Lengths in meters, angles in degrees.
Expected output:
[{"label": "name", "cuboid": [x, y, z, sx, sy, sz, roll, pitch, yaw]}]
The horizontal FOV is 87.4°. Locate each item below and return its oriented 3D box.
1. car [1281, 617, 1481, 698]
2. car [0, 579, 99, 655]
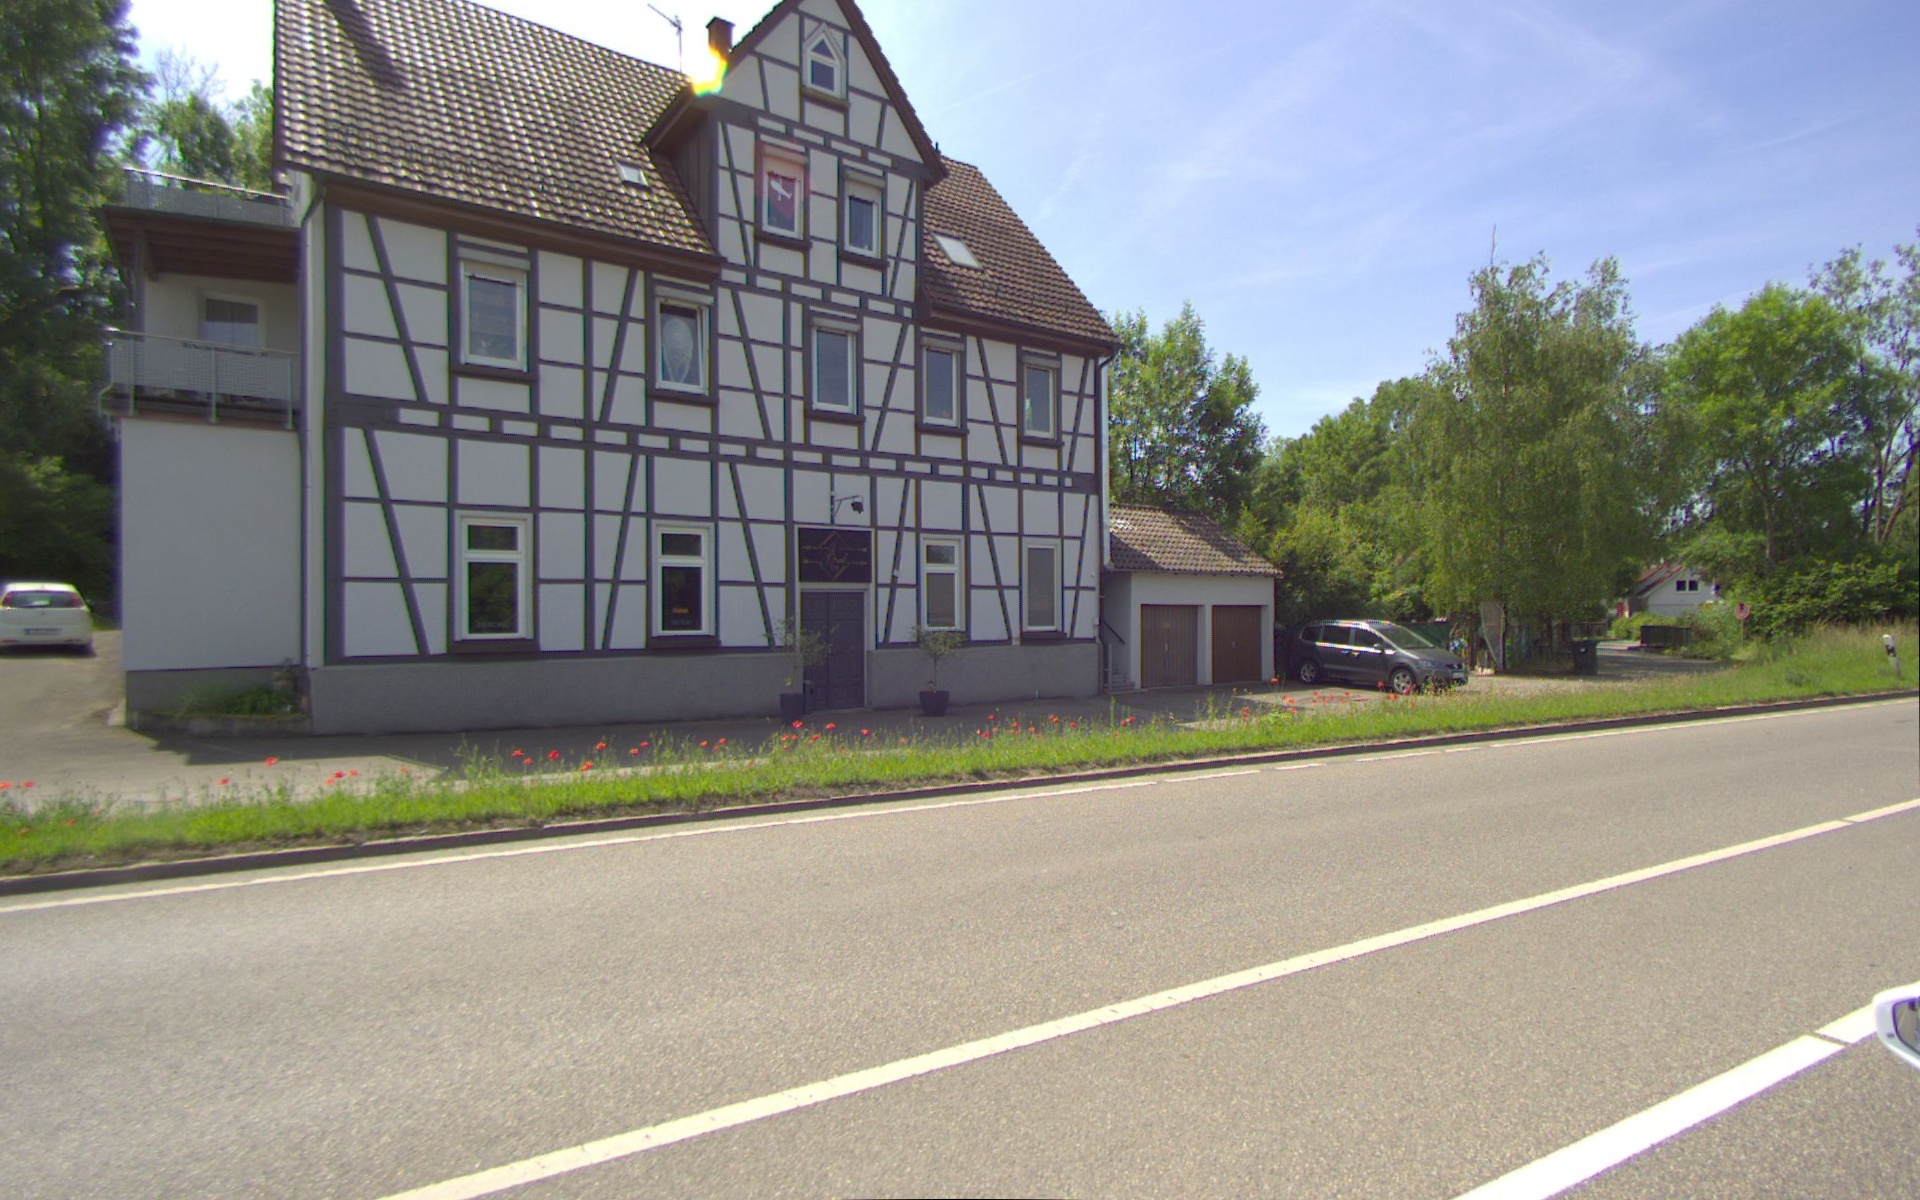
[{"label": "car", "cuboid": [10.937, 1.412, 26.418, 1.842, 1.743, 4.634, -2, 2, -34]}, {"label": "car", "cuboid": [-20.622, 0.355, 22.678, 1.660, 1.466, 3.344, 1, 2, -43]}]
